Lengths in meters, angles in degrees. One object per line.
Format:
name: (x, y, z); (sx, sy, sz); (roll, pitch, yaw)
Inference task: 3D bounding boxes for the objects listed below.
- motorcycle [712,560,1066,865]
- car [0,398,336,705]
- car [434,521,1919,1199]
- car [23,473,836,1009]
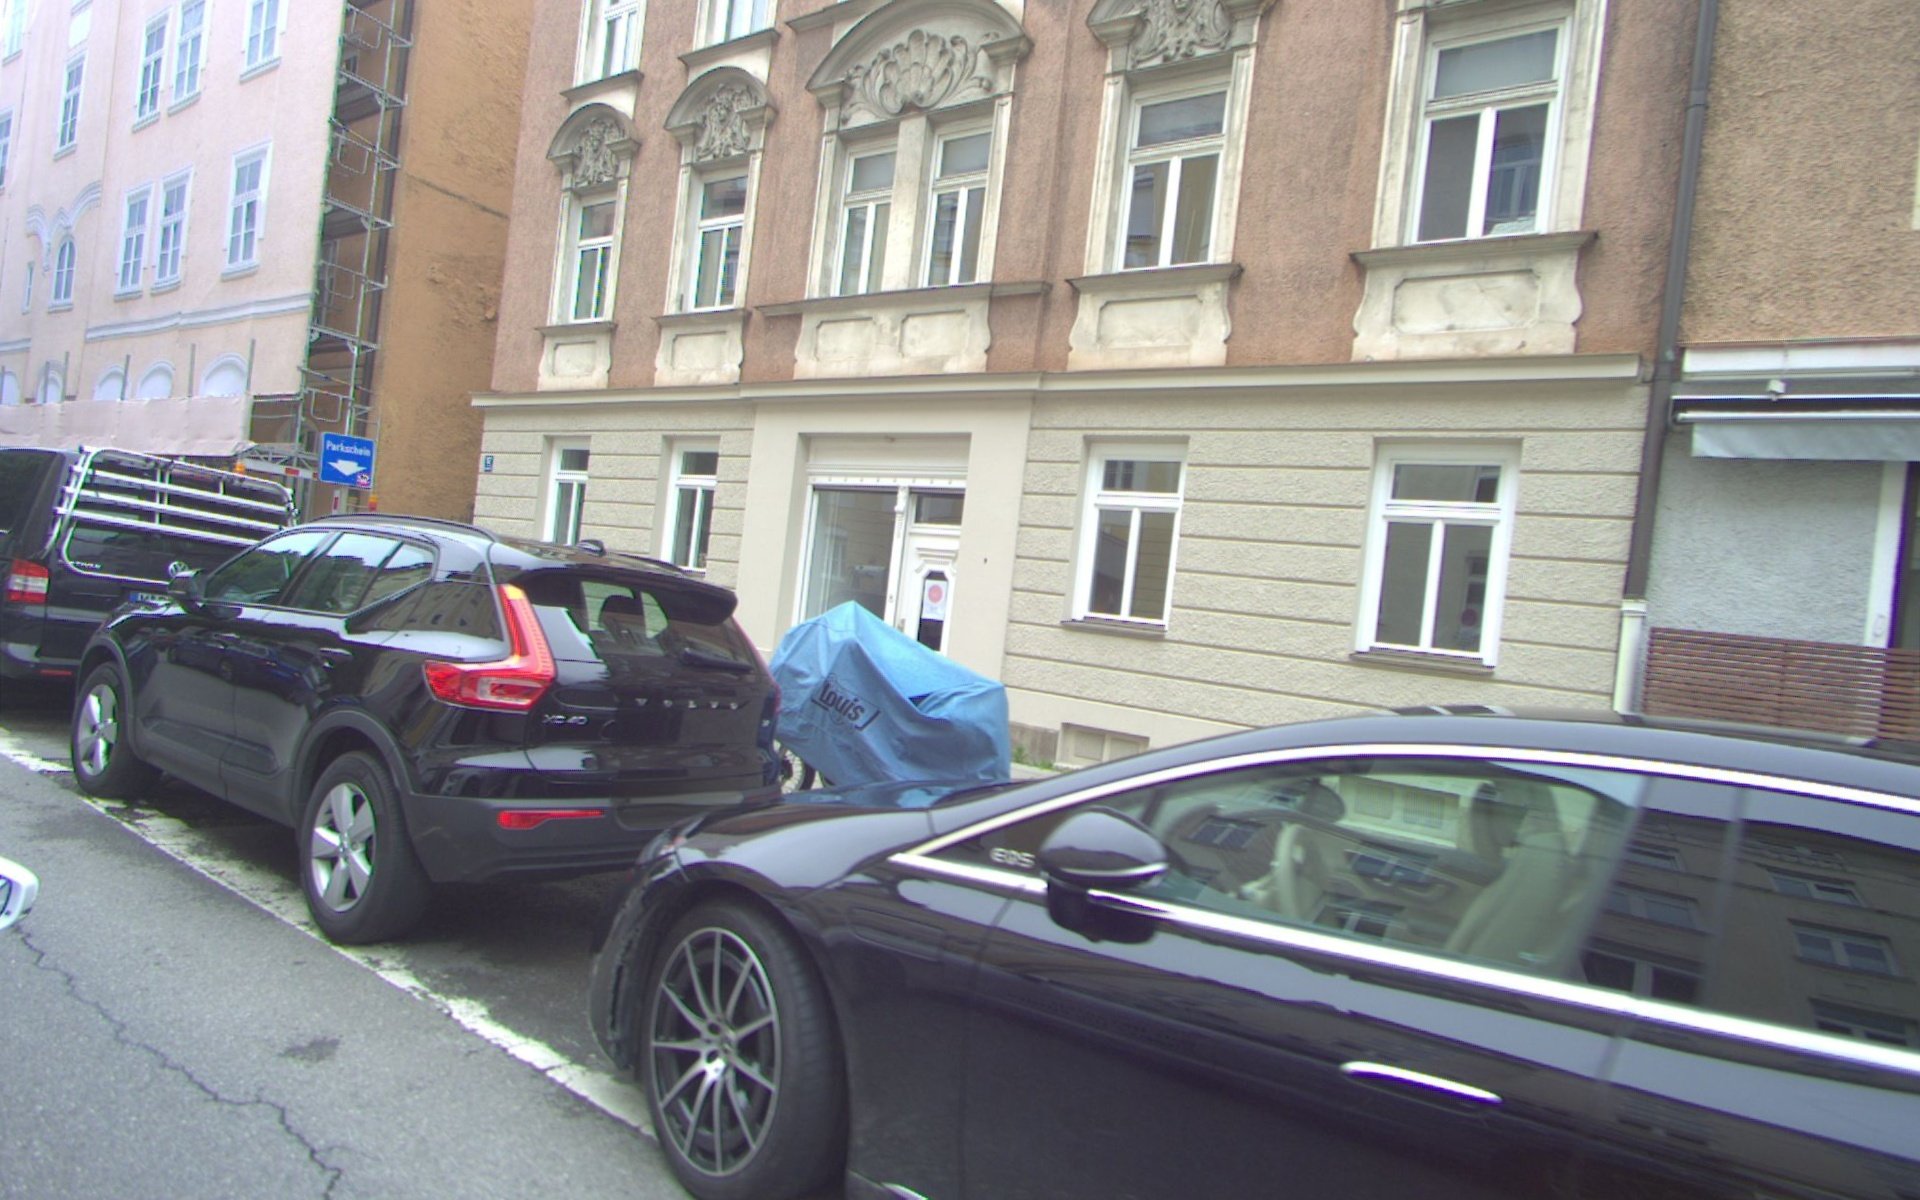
motorcycle: (-0.486, 0.624, 6.344); (1.965, 1.523, 0.872); (7, 0, 35)
car: (-7.808, -0.356, 8.675); (5.060, 1.942, 2.085); (4, -3, 34)
car: (1.366, 0.906, 2.330); (5.544, 1.571, 1.934); (7, -1, 32)
car: (-2.940, 0.412, 5.209); (4.337, 1.694, 1.697); (6, -4, 34)
